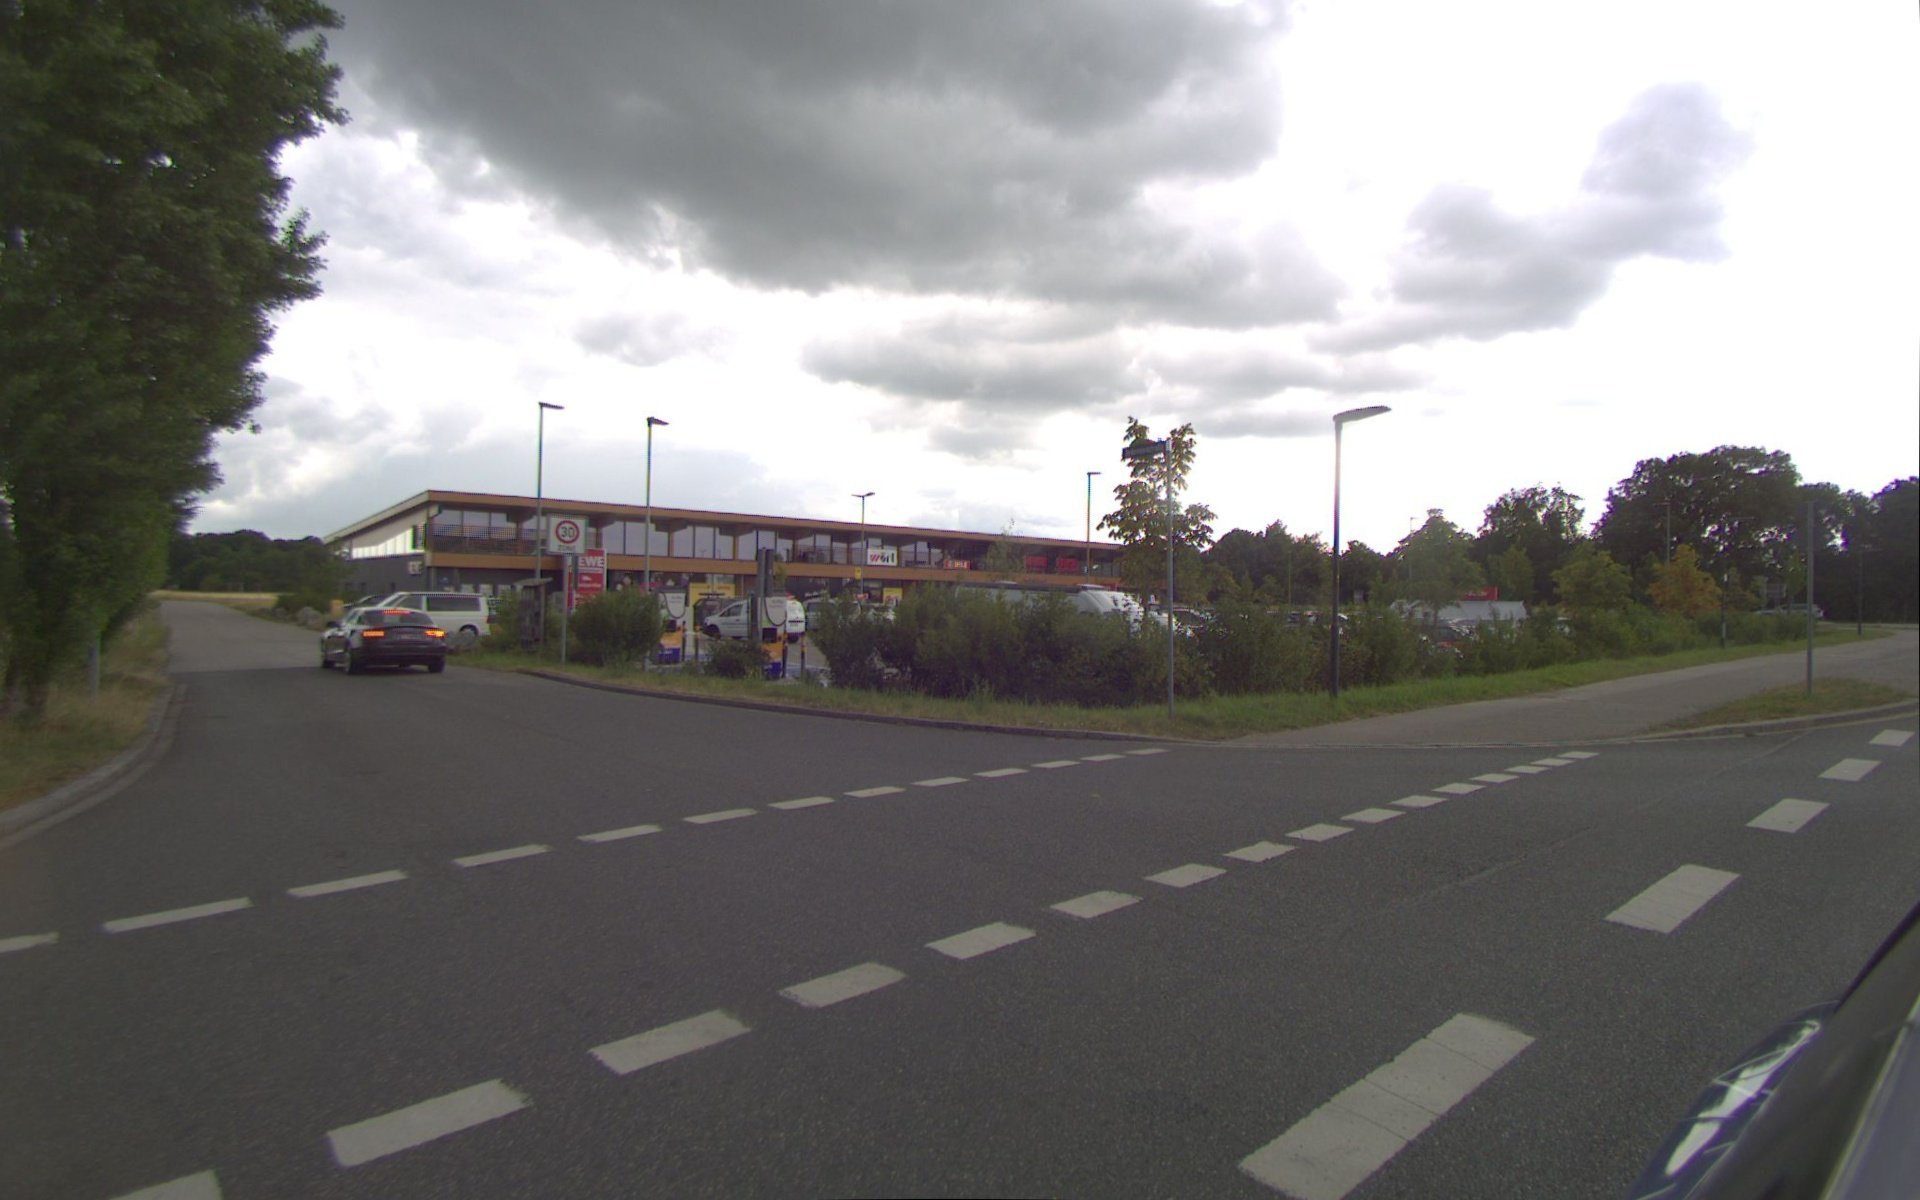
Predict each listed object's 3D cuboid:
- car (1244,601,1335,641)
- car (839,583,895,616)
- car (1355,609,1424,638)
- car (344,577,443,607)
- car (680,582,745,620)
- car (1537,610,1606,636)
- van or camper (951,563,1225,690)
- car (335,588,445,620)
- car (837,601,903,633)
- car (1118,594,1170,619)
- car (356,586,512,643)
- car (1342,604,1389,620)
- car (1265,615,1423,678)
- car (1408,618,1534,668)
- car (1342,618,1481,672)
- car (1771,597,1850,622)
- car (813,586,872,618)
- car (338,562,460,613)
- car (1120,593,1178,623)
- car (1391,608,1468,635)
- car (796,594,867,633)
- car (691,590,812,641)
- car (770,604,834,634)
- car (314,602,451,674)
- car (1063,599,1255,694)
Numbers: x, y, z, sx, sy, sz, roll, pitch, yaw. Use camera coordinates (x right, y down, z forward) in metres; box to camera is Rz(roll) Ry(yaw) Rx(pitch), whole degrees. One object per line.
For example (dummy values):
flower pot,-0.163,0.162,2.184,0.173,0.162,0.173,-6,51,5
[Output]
car,17.787,1.103,54.795,1.962,1.894,4.274,1,2,-36
car,-6.279,-0.025,68.314,1.962,2.038,4.000,1,2,-36
car,26.501,1.424,62.499,1.723,1.551,3.555,1,2,-42
car,-28.760,-0.408,51.427,4.125,1.427,1.998,1,2,-40
car,-14.456,0.029,58.940,1.820,2.035,4.224,1,2,-42
car,43.777,1.639,72.495,4.153,1.738,1.705,2,1,-13
van or camper,2.827,0.468,24.011,2.243,2.494,6.475,1,2,-43
car,-26.508,0.201,47.107,4.181,1.366,1.837,1,2,-40
car,-5.229,0.947,58.572,2.003,1.627,3.745,1,2,-40
car,15.456,0.548,85.075,2.032,1.871,4.000,1,2,-36
car,-20.652,0.537,39.881,5.141,2.038,1.998,1,2,-40
car,38.790,1.142,96.795,3.916,1.377,1.705,2,1,-13
car,11.975,1.388,31.739,2.045,1.617,4.153,1,2,-42
car,18.763,1.533,37.277,1.647,1.557,3.762,1,2,-42
car,15.840,1.540,35.653,1.647,1.557,4.153,1,2,-42
car,69.406,0.729,82.720,4.746,1.826,1.974,3,2,37
car,-7.363,0.108,63.076,1.909,1.771,4.000,1,2,-36
car,-23.802,-0.512,42.970,4.210,2.038,1.998,1,2,-40
car,14.172,0.602,75.992,1.962,2.038,4.000,1,2,-36
car,30.599,1.362,66.027,1.962,1.503,4.132,1,2,-36
car,-7.166,0.724,56.254,2.004,1.935,3.899,1,2,-42
car,-9.043,0.604,43.924,4.895,1.930,2.091,3,1,27
car,-8.449,0.993,54.112,1.745,1.399,3.467,1,2,-42
car,-12.615,0.752,21.984,1.799,1.406,4.380,1,-1,-41
car,5.060,1.098,26.229,1.966,2.038,4.600,1,2,-42
